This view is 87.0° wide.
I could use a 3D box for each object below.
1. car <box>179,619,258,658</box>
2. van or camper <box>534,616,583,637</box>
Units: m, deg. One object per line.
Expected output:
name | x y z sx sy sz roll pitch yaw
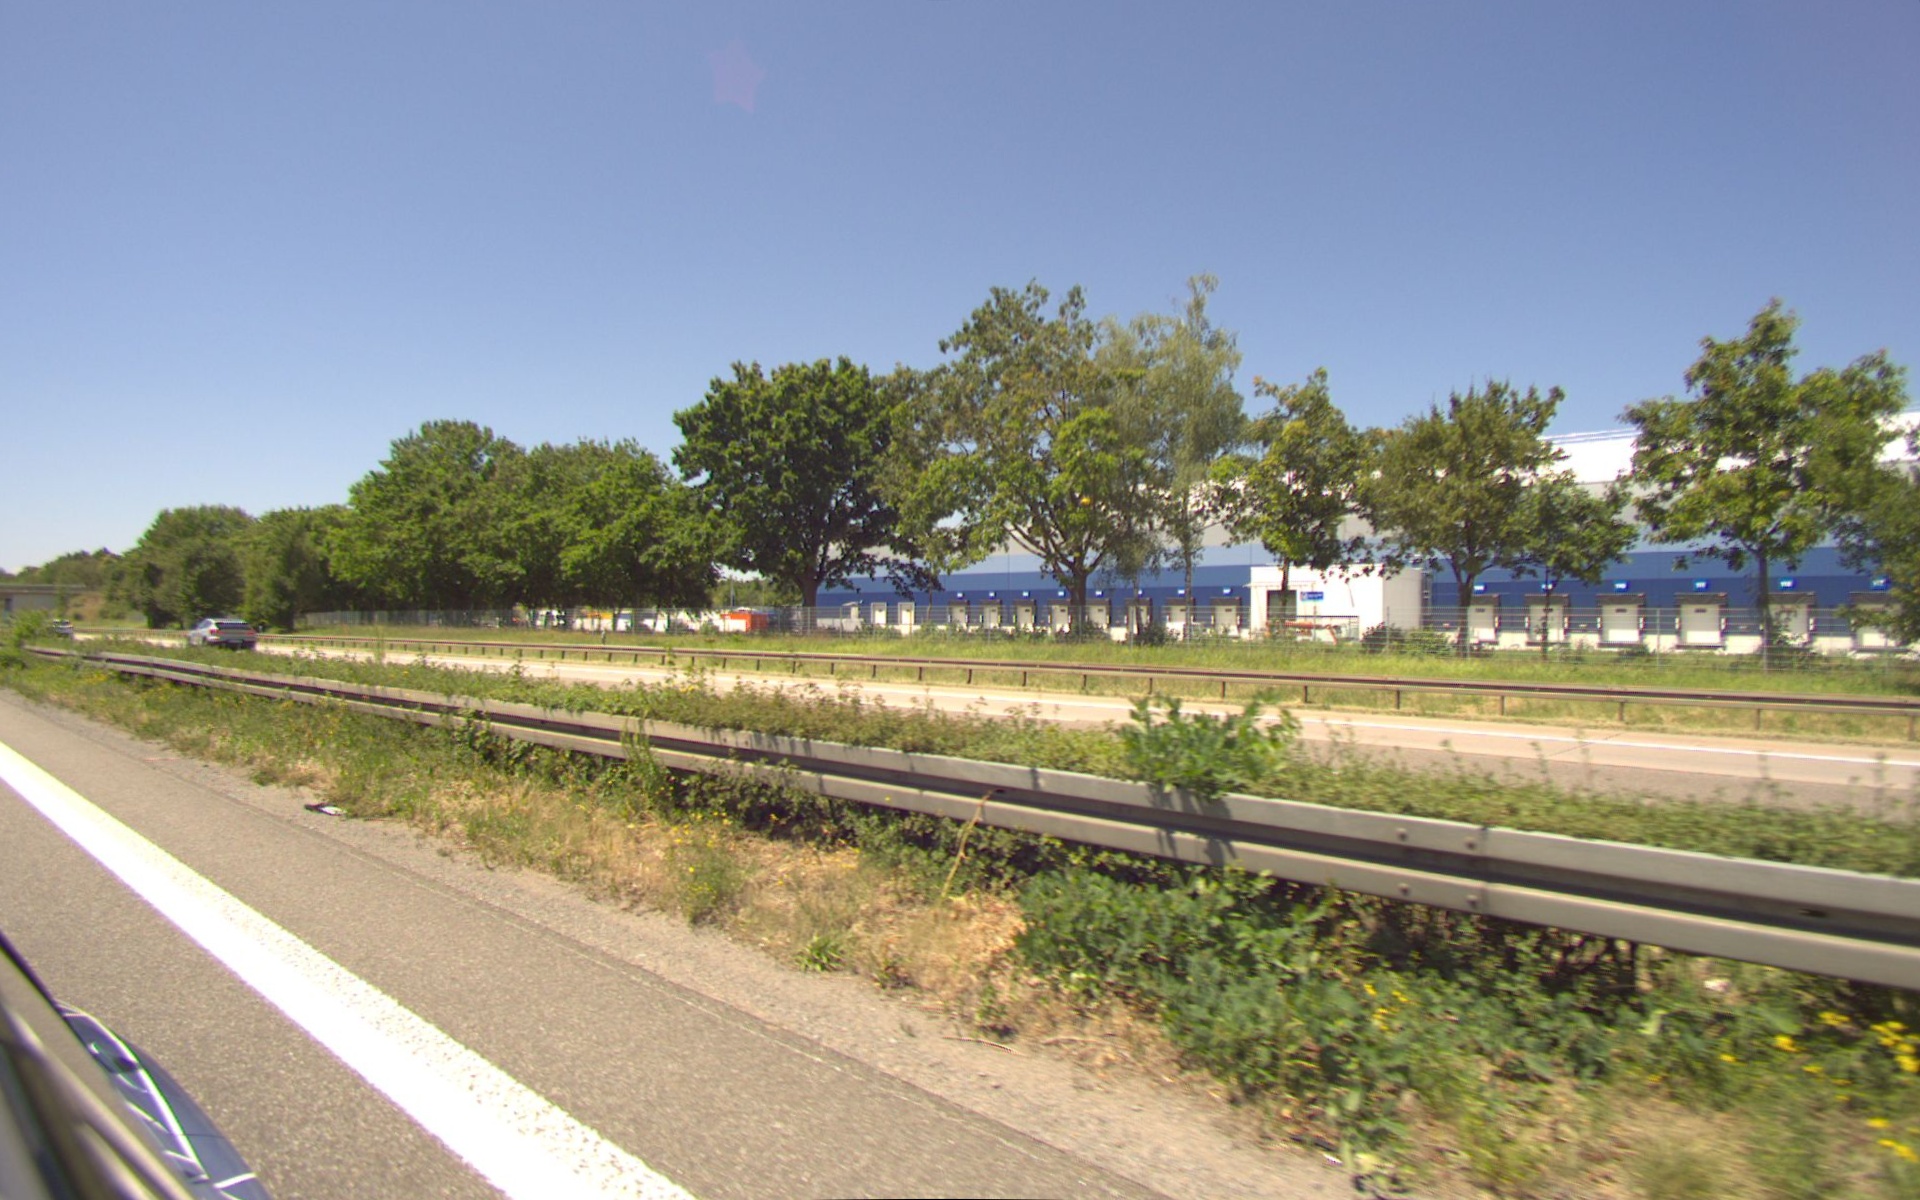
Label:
car | -33.568 1.732 45.739 4.812 1.695 1.826 -1 -3 41
van or camper | -50.671 3.388 127.660 7.718 2.572 2.333 -1 -2 40
